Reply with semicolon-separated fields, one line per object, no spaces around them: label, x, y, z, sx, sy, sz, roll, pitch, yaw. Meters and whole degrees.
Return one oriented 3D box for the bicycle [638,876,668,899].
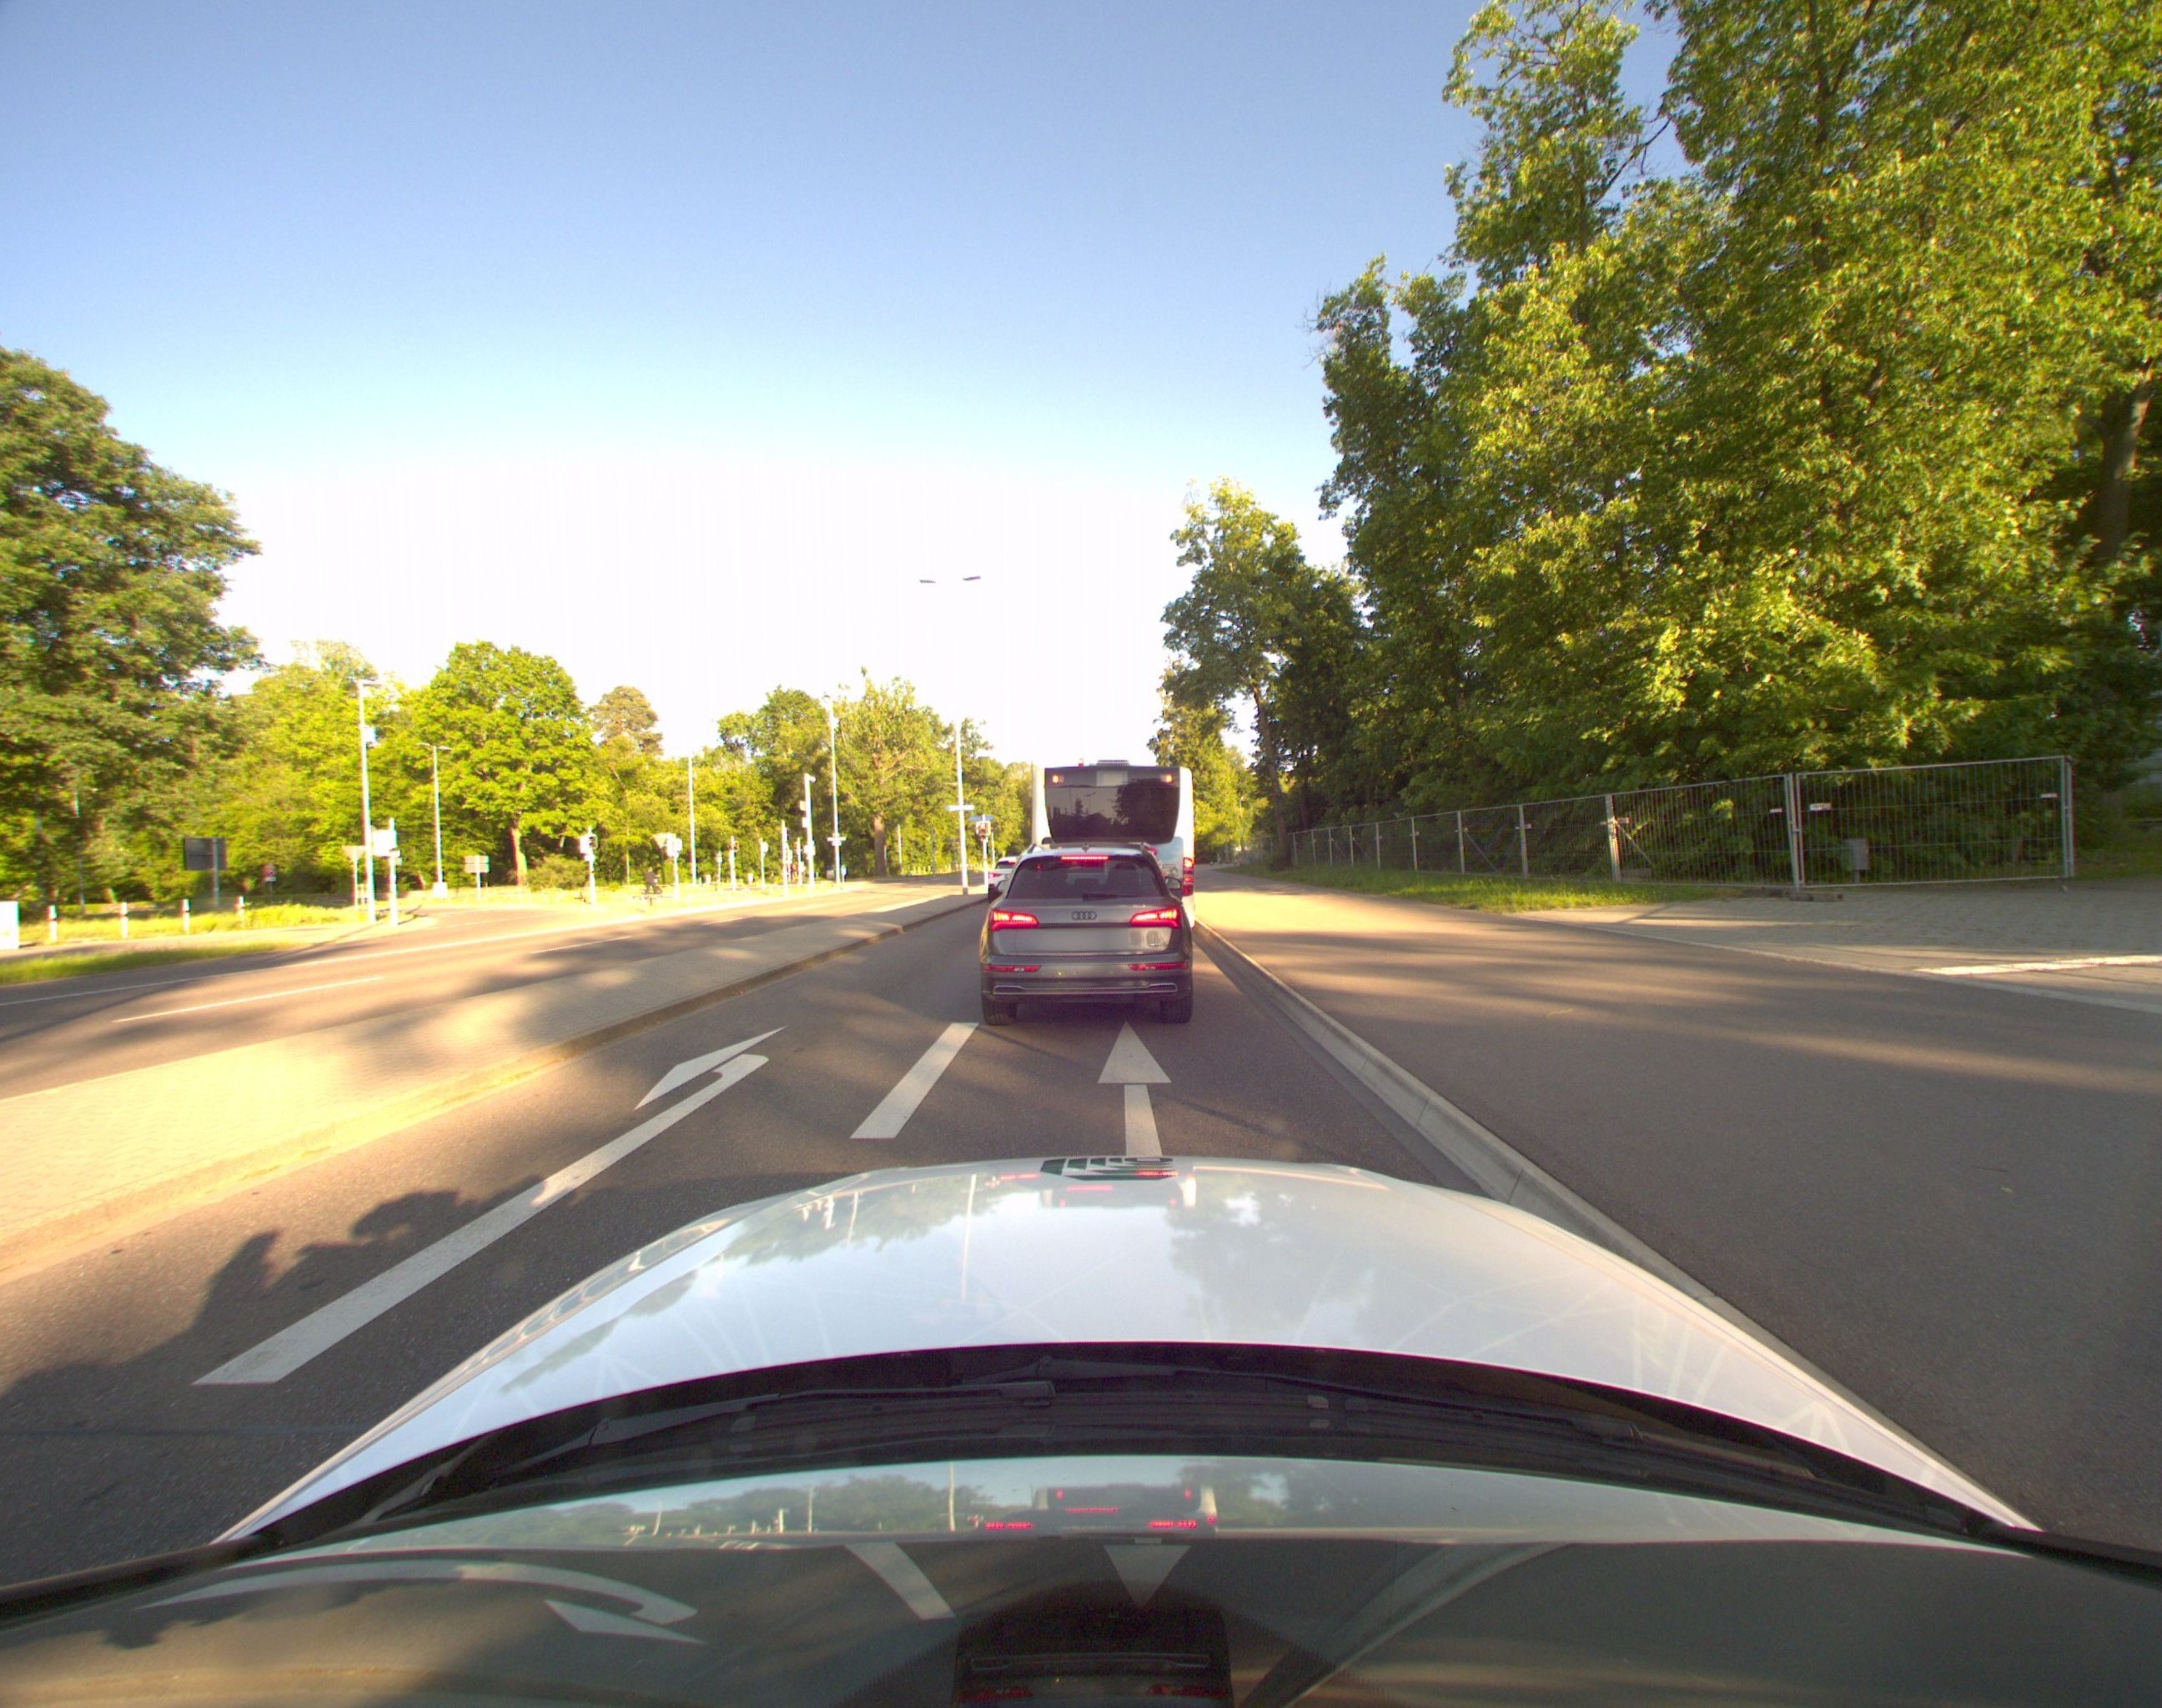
bicycle;-22.697;1.755;43.203;0.466;1.178;2.005;0;-1;2

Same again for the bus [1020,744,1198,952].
bus;0.579;-0.114;15.267;2.667;3.142;5.887;0;0;3

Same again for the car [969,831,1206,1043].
car;0.113;0.640;8.447;1.861;1.663;4.002;0;1;2

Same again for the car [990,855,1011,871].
car;-8.631;0.955;87.151;1.990;1.662;3.995;-3;0;-4

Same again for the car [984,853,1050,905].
car;-2.085;0.789;27.720;1.801;1.572;4.002;0;1;2

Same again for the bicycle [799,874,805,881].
bicycle;-22.259;1.888;64.957;0.266;0.581;0.838;0;-1;-4

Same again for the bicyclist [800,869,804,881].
bicyclist;-22.260;1.647;64.961;0.272;0.963;0.240;0;-1;-3

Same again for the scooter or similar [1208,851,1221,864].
scooter or similar;12.786;0.320;77.880;1.175;1.174;0.661;0;0;13

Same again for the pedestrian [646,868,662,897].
pedestrian;-22.689;1.506;43.244;0.480;1.562;0.649;0;-1;2
